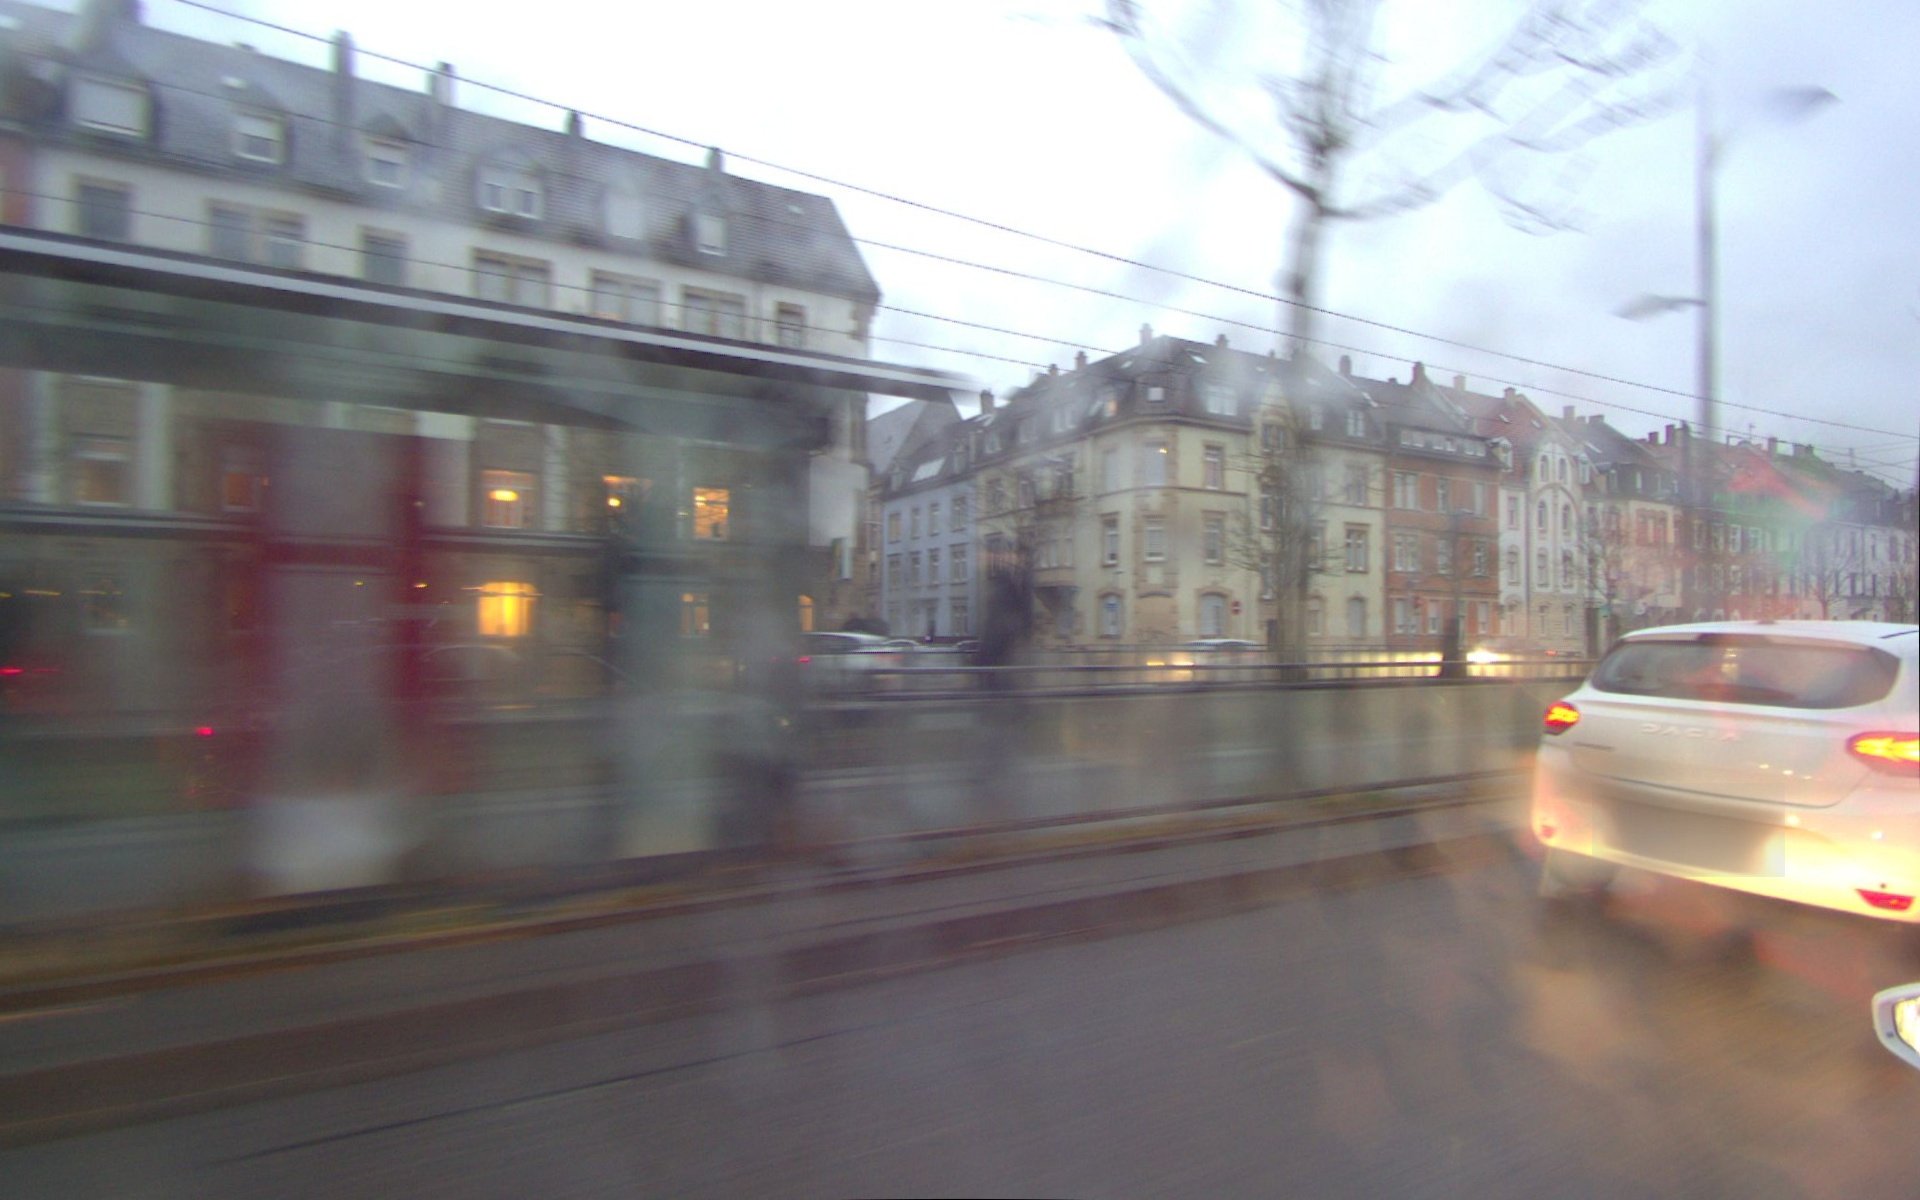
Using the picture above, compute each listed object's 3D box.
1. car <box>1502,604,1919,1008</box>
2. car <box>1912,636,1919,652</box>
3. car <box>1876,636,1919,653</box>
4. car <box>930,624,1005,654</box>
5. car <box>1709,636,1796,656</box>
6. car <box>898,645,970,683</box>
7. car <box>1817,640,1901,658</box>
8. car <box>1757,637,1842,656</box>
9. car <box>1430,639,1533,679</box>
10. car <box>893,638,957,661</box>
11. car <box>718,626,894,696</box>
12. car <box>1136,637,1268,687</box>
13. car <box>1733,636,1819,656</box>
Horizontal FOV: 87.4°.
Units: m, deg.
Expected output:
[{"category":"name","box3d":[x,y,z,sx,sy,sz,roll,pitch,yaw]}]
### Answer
[{"category":"car","box3d":[4.903,0.819,5.450,3.953,1.506,1.619,1,-2,-30]},{"category":"car","box3d":[72.597,3.230,73.635,1.626,1.171,3.765,1,-3,-24]},{"category":"car","box3d":[69.275,3.229,72.909,1.626,1.171,3.765,1,-3,-24]},{"category":"car","box3d":[0.382,2.162,56.099,3.927,1.617,1.998,0,-3,-9]},{"category":"car","box3d":[47.254,2.748,59.976,1.626,1.171,3.765,1,-3,-24]},{"category":"car","box3d":[-0.755,1.923,30.777,1.551,1.084,3.421,-1,-3,10]},{"category":"car","box3d":[58.730,3.200,65.665,1.626,1.171,3.765,1,-3,-24]},{"category":"car","box3d":[52.241,2.895,62.573,1.626,1.171,3.765,1,-3,-24]},{"category":"car","box3d":[19.358,2.175,37.279,3.723,1.416,1.647,1,-3,-30]},{"category":"car","box3d":[-2.180,3.112,63.283,3.920,1.438,2.001,0,-3,2]},{"category":"car","box3d":[-3.549,1.387,23.277,3.723,1.509,1.647,1,-3,-30]},{"category":"car","box3d":[7.225,1.810,29.885,3.723,1.416,1.647,1,-3,-30]},{"category":"car","box3d":[49.714,2.807,61.274,1.626,1.171,3.765,1,-3,-24]}]
